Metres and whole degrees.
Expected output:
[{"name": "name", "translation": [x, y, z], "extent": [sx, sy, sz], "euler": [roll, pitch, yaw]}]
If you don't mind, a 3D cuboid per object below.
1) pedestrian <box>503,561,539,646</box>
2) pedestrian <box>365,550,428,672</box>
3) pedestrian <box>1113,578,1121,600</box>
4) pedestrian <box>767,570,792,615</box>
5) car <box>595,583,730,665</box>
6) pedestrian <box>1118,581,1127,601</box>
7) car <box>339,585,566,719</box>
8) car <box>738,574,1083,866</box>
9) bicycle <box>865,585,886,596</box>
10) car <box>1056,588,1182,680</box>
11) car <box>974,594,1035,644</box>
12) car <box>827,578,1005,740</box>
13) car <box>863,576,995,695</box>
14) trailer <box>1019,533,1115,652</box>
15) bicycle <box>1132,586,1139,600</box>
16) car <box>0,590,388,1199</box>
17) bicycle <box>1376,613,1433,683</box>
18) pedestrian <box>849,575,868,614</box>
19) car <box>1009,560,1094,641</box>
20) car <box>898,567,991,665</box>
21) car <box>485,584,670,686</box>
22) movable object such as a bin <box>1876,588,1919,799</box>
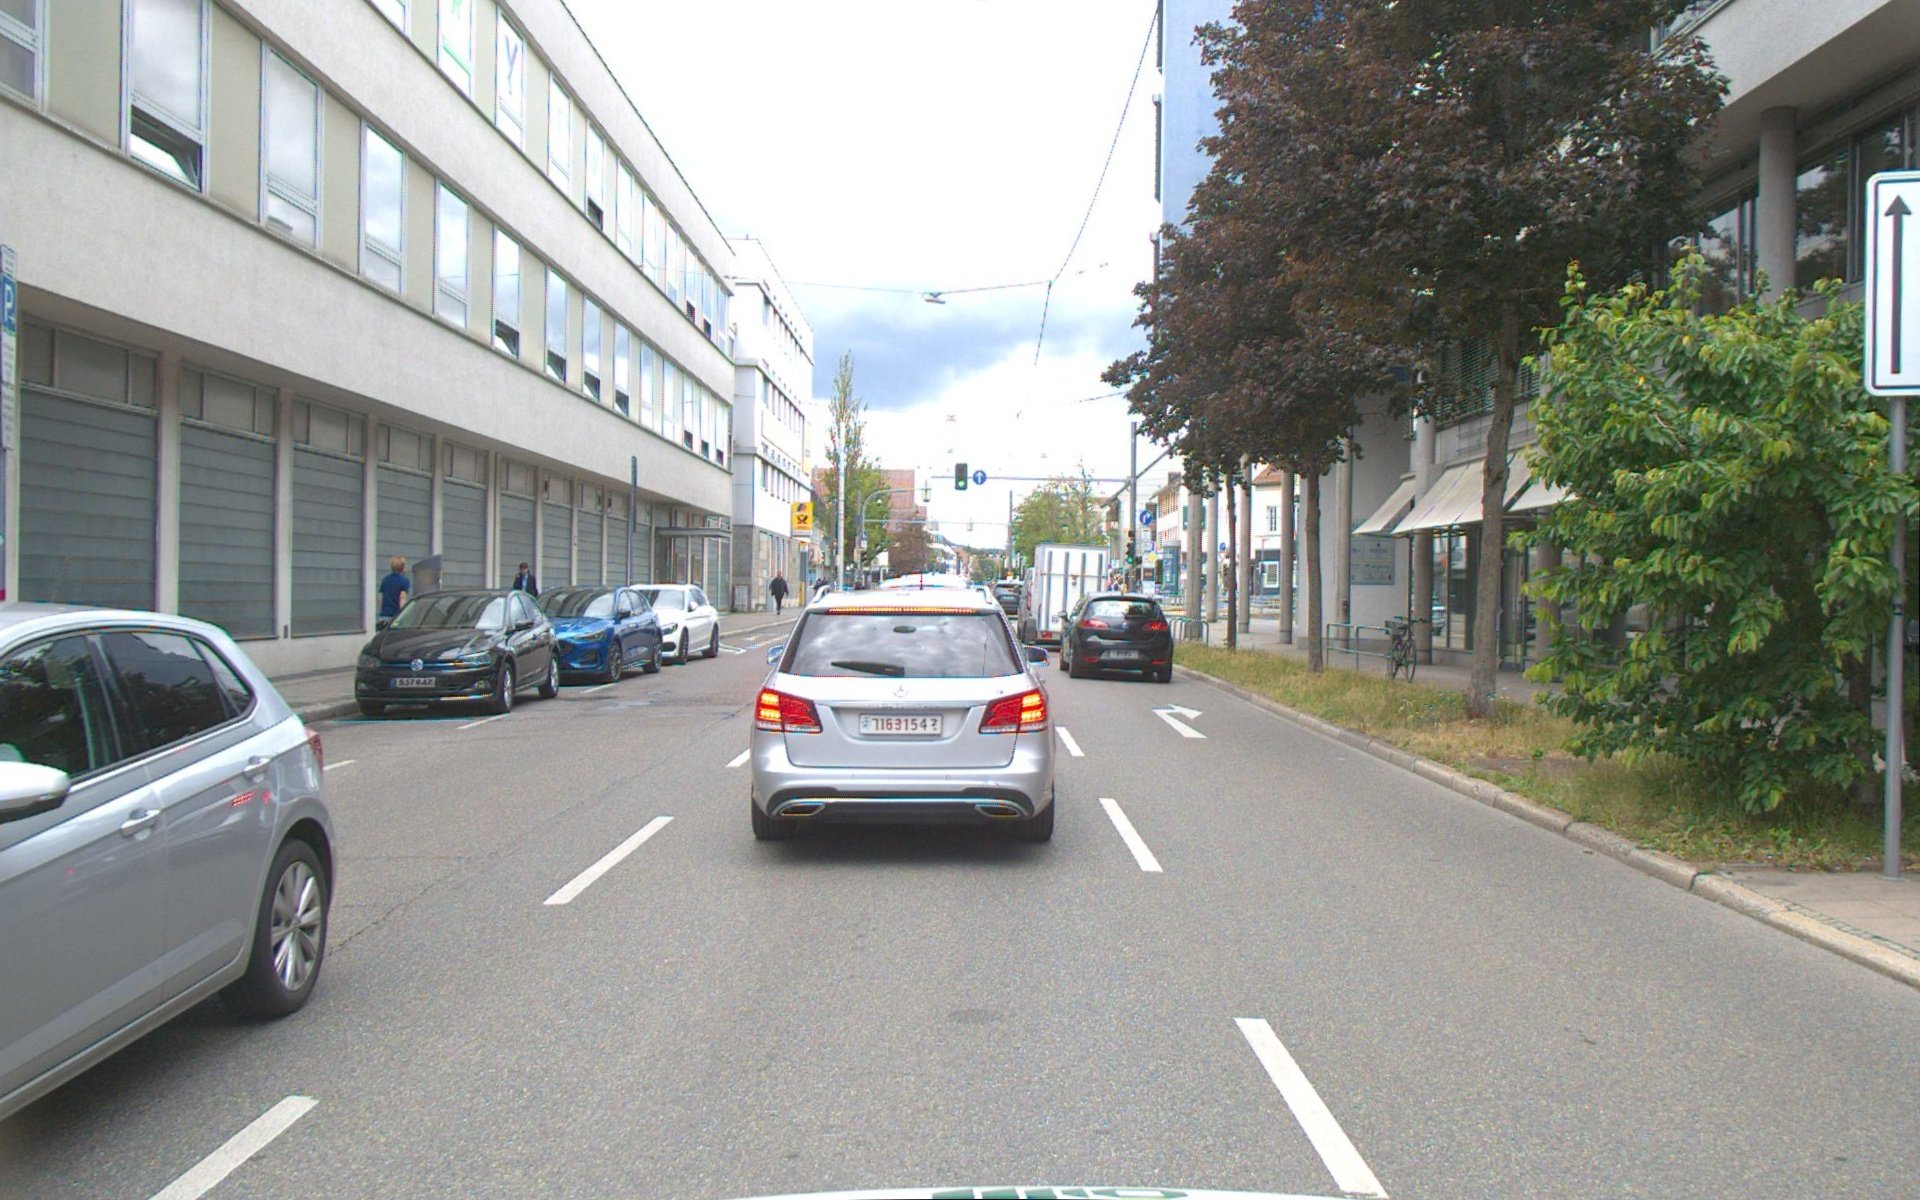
[{"name": "pedestrian", "translation": [-9.073, 0.067, 34.193], "extent": [0.577, 1.748, 0.649], "euler": [1, 0, -2]}, {"name": "pedestrian", "translation": [-8.274, 0.156, 24.300], "extent": [0.577, 1.748, 1.055], "euler": [1, 0, -2]}, {"name": "pedestrian", "translation": [12.673, -0.890, 133.423], "extent": [0.566, 1.695, 0.651], "euler": [2, 0, -1]}, {"name": "pedestrian", "translation": [-7.214, -0.309, 66.285], "extent": [0.844, 1.748, 1.031], "euler": [2, 0, -2]}, {"name": "car", "translation": [-5.707, 0.415, 32.228], "extent": [1.635, 1.459, 4.554], "euler": [-1, 1, 2]}, {"name": "pedestrian", "translation": [12.798, -0.717, 130.600], "extent": [0.566, 1.495, 0.650], "euler": [2, 0, -5]}, {"name": "car", "translation": [-6.122, 0.561, 20.391], "extent": [1.681, 1.450, 3.869], "euler": [-1, 1, -2]}, {"name": "car", "translation": [-0.314, 0.613, 10.829], "extent": [1.808, 1.534, 4.170], "euler": [1, 1, -2]}, {"name": "bicycle", "translation": [-8.067, -0.893, 157.361], "extent": [1.902, 1.047, 0.529], "euler": [2, 0, -9]}, {"name": "car", "translation": [2.683, 0.534, 28.663], "extent": [1.699, 1.435, 3.999], "euler": [1, 1, -2]}, {"name": "car", "translation": [1.356, 0.560, 51.996], "extent": [1.699, 1.435, 3.999], "euler": [1, 1, -2]}, {"name": "car", "translation": [-0.398, 0.553, 18.000], "extent": [1.698, 1.534, 4.001], "euler": [1, 1, 1]}, {"name": "car", "translation": [-0.457, 0.434, 23.510], "extent": [1.699, 1.534, 3.999], "euler": [1, 1, -2]}, {"name": "trailer", "translation": [2.561, -0.209, 40.481], "extent": [1.840, 2.658, 4.322], "euler": [3, 1, -2]}, {"name": "bicycle", "translation": [13.989, -0.563, 131.842], "extent": [0.438, 1.127, 2.149], "euler": [1, 0, 1]}, {"name": "car", "translation": [-3.113, 0.725, 4.534], "extent": [1.763, 1.442, 3.999], "euler": [-1, 1, -2]}, {"name": "bicycle", "translation": [7.577, 0.795, 28.273], "extent": [0.353, 1.105, 2.027], "euler": [2, 0, -2]}, {"name": "pedestrian", "translation": [-4.570, -0.244, 74.520], "extent": [0.634, 1.748, 0.783], "euler": [2, 1, 7]}, {"name": "car", "translation": [2.431, -0.010, 45.081], "extent": [1.840, 1.979, 4.905], "euler": [3, 1, -2]}, {"name": "car", "translation": [-0.330, 0.269, 32.392], "extent": [1.699, 1.789, 3.999], "euler": [1, 1, -2]}, {"name": "car", "translation": [-5.956, 0.494, 26.243], "extent": [1.777, 1.450, 4.265], "euler": [-1, 1, 2]}, {"name": "movable object such as a bin", "translation": [7.342, 0.657, 11.525], "extent": [1.104, 1.491, 1.412], "euler": [-1, 0, -1]}]
